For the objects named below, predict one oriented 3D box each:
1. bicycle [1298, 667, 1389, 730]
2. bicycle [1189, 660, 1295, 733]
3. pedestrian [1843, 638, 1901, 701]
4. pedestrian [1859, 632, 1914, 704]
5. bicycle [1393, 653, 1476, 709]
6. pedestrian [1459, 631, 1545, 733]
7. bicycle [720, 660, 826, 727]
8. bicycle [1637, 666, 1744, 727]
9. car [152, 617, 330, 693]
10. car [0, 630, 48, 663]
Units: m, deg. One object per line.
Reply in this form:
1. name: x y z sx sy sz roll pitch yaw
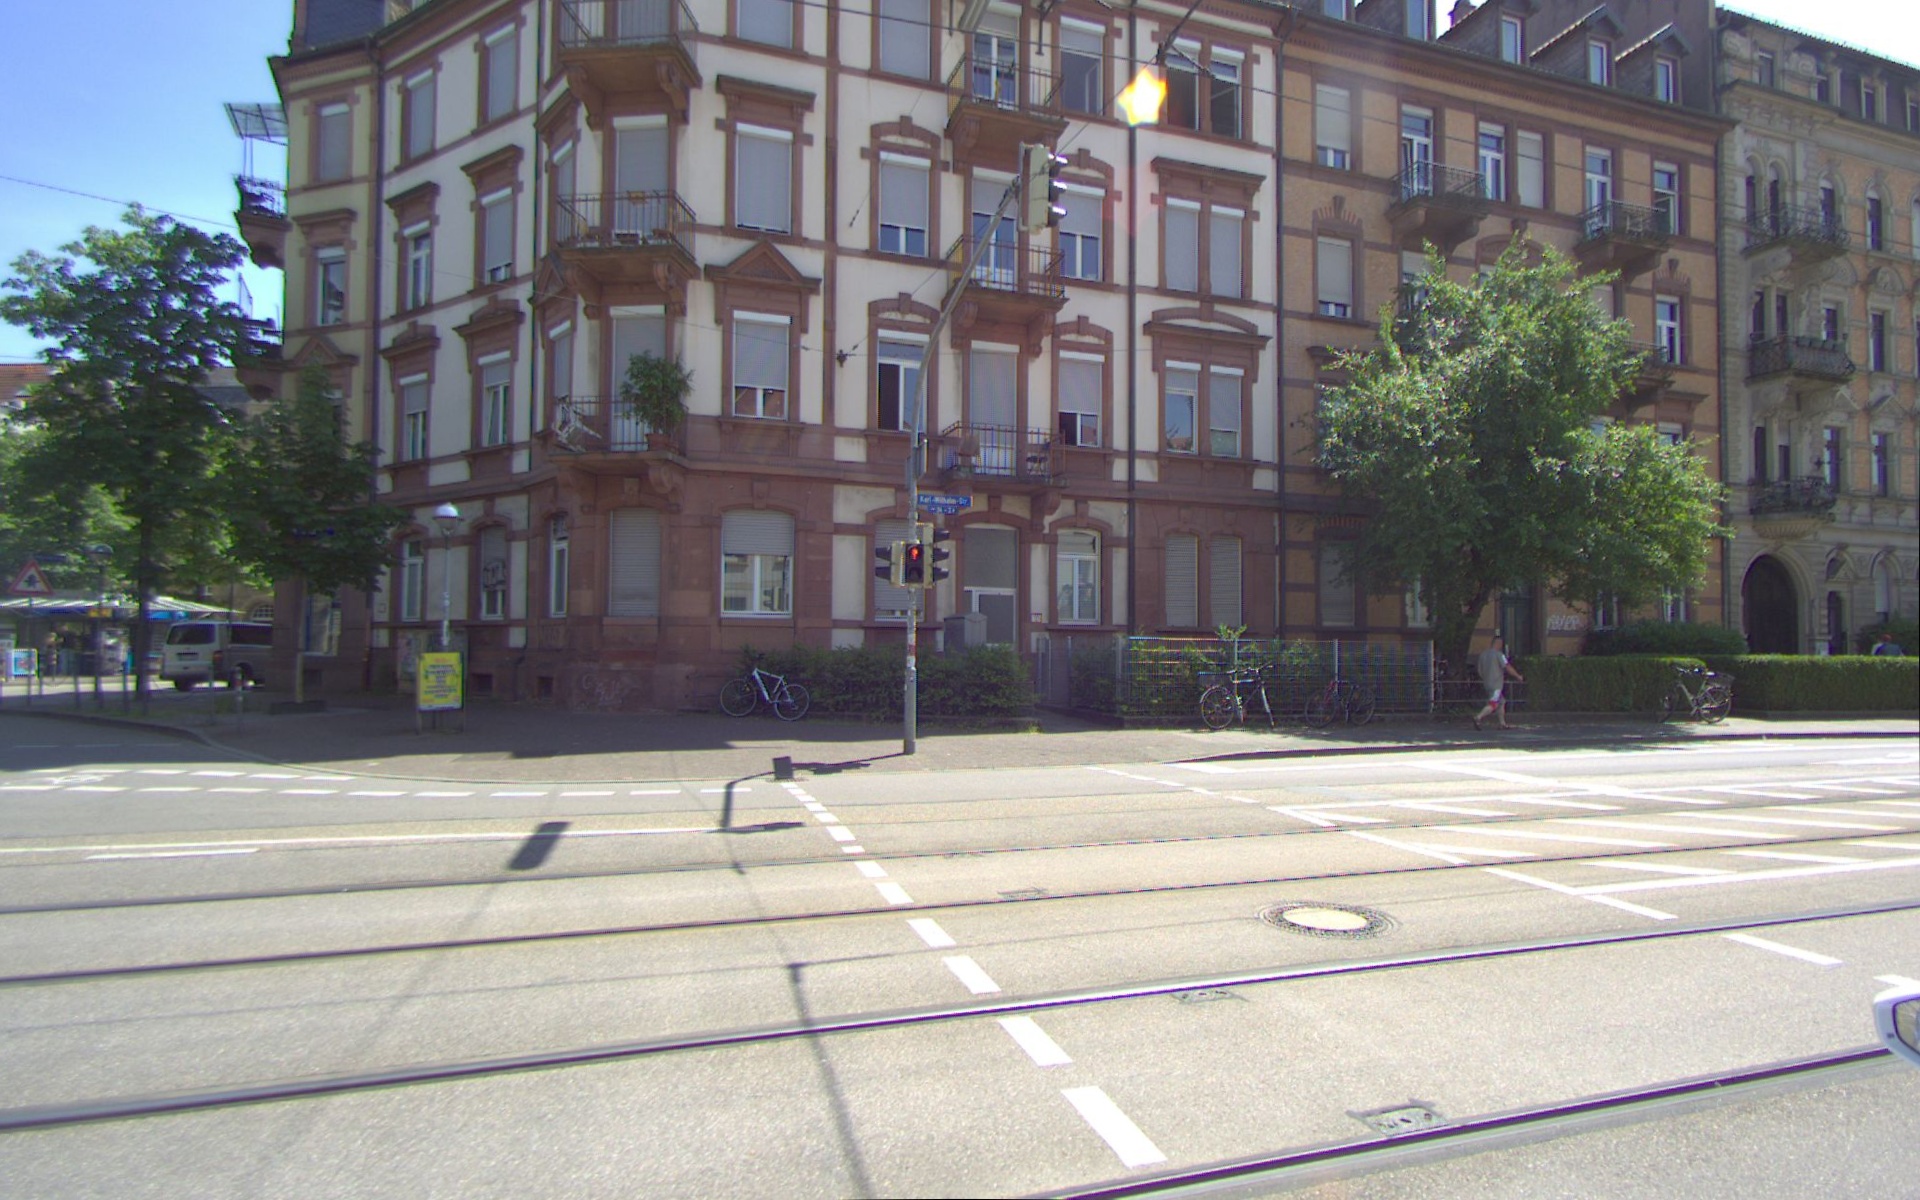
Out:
1. bicycle: 6.802 1.731 17.809 1.538 1.070 0.459 1 -2 -16
2. bicycle: 4.802 1.631 17.102 1.687 1.184 0.573 1 -2 -16
3. pedestrian: 25.513 1.918 28.104 0.807 1.722 0.912 0 -2 9
4. pedestrian: 24.680 1.790 26.780 0.801 1.881 0.878 0 -2 24
5. bicycle: 9.182 1.554 19.496 0.487 1.009 1.646 1 -2 -16
6. pedestrian: 9.509 1.424 17.641 0.995 1.722 0.873 1 -2 -12
7. bicycle: -3.340 1.643 17.913 1.886 1.122 0.467 0 -2 20
8. bicycle: 14.134 1.845 19.438 1.899 1.108 0.638 1 0 -16
9. car: -21.526 1.638 30.375 1.960 2.094 4.591 0 -2 1
10. car: -52.066 2.493 54.264 3.921 1.720 1.812 1 -2 1
